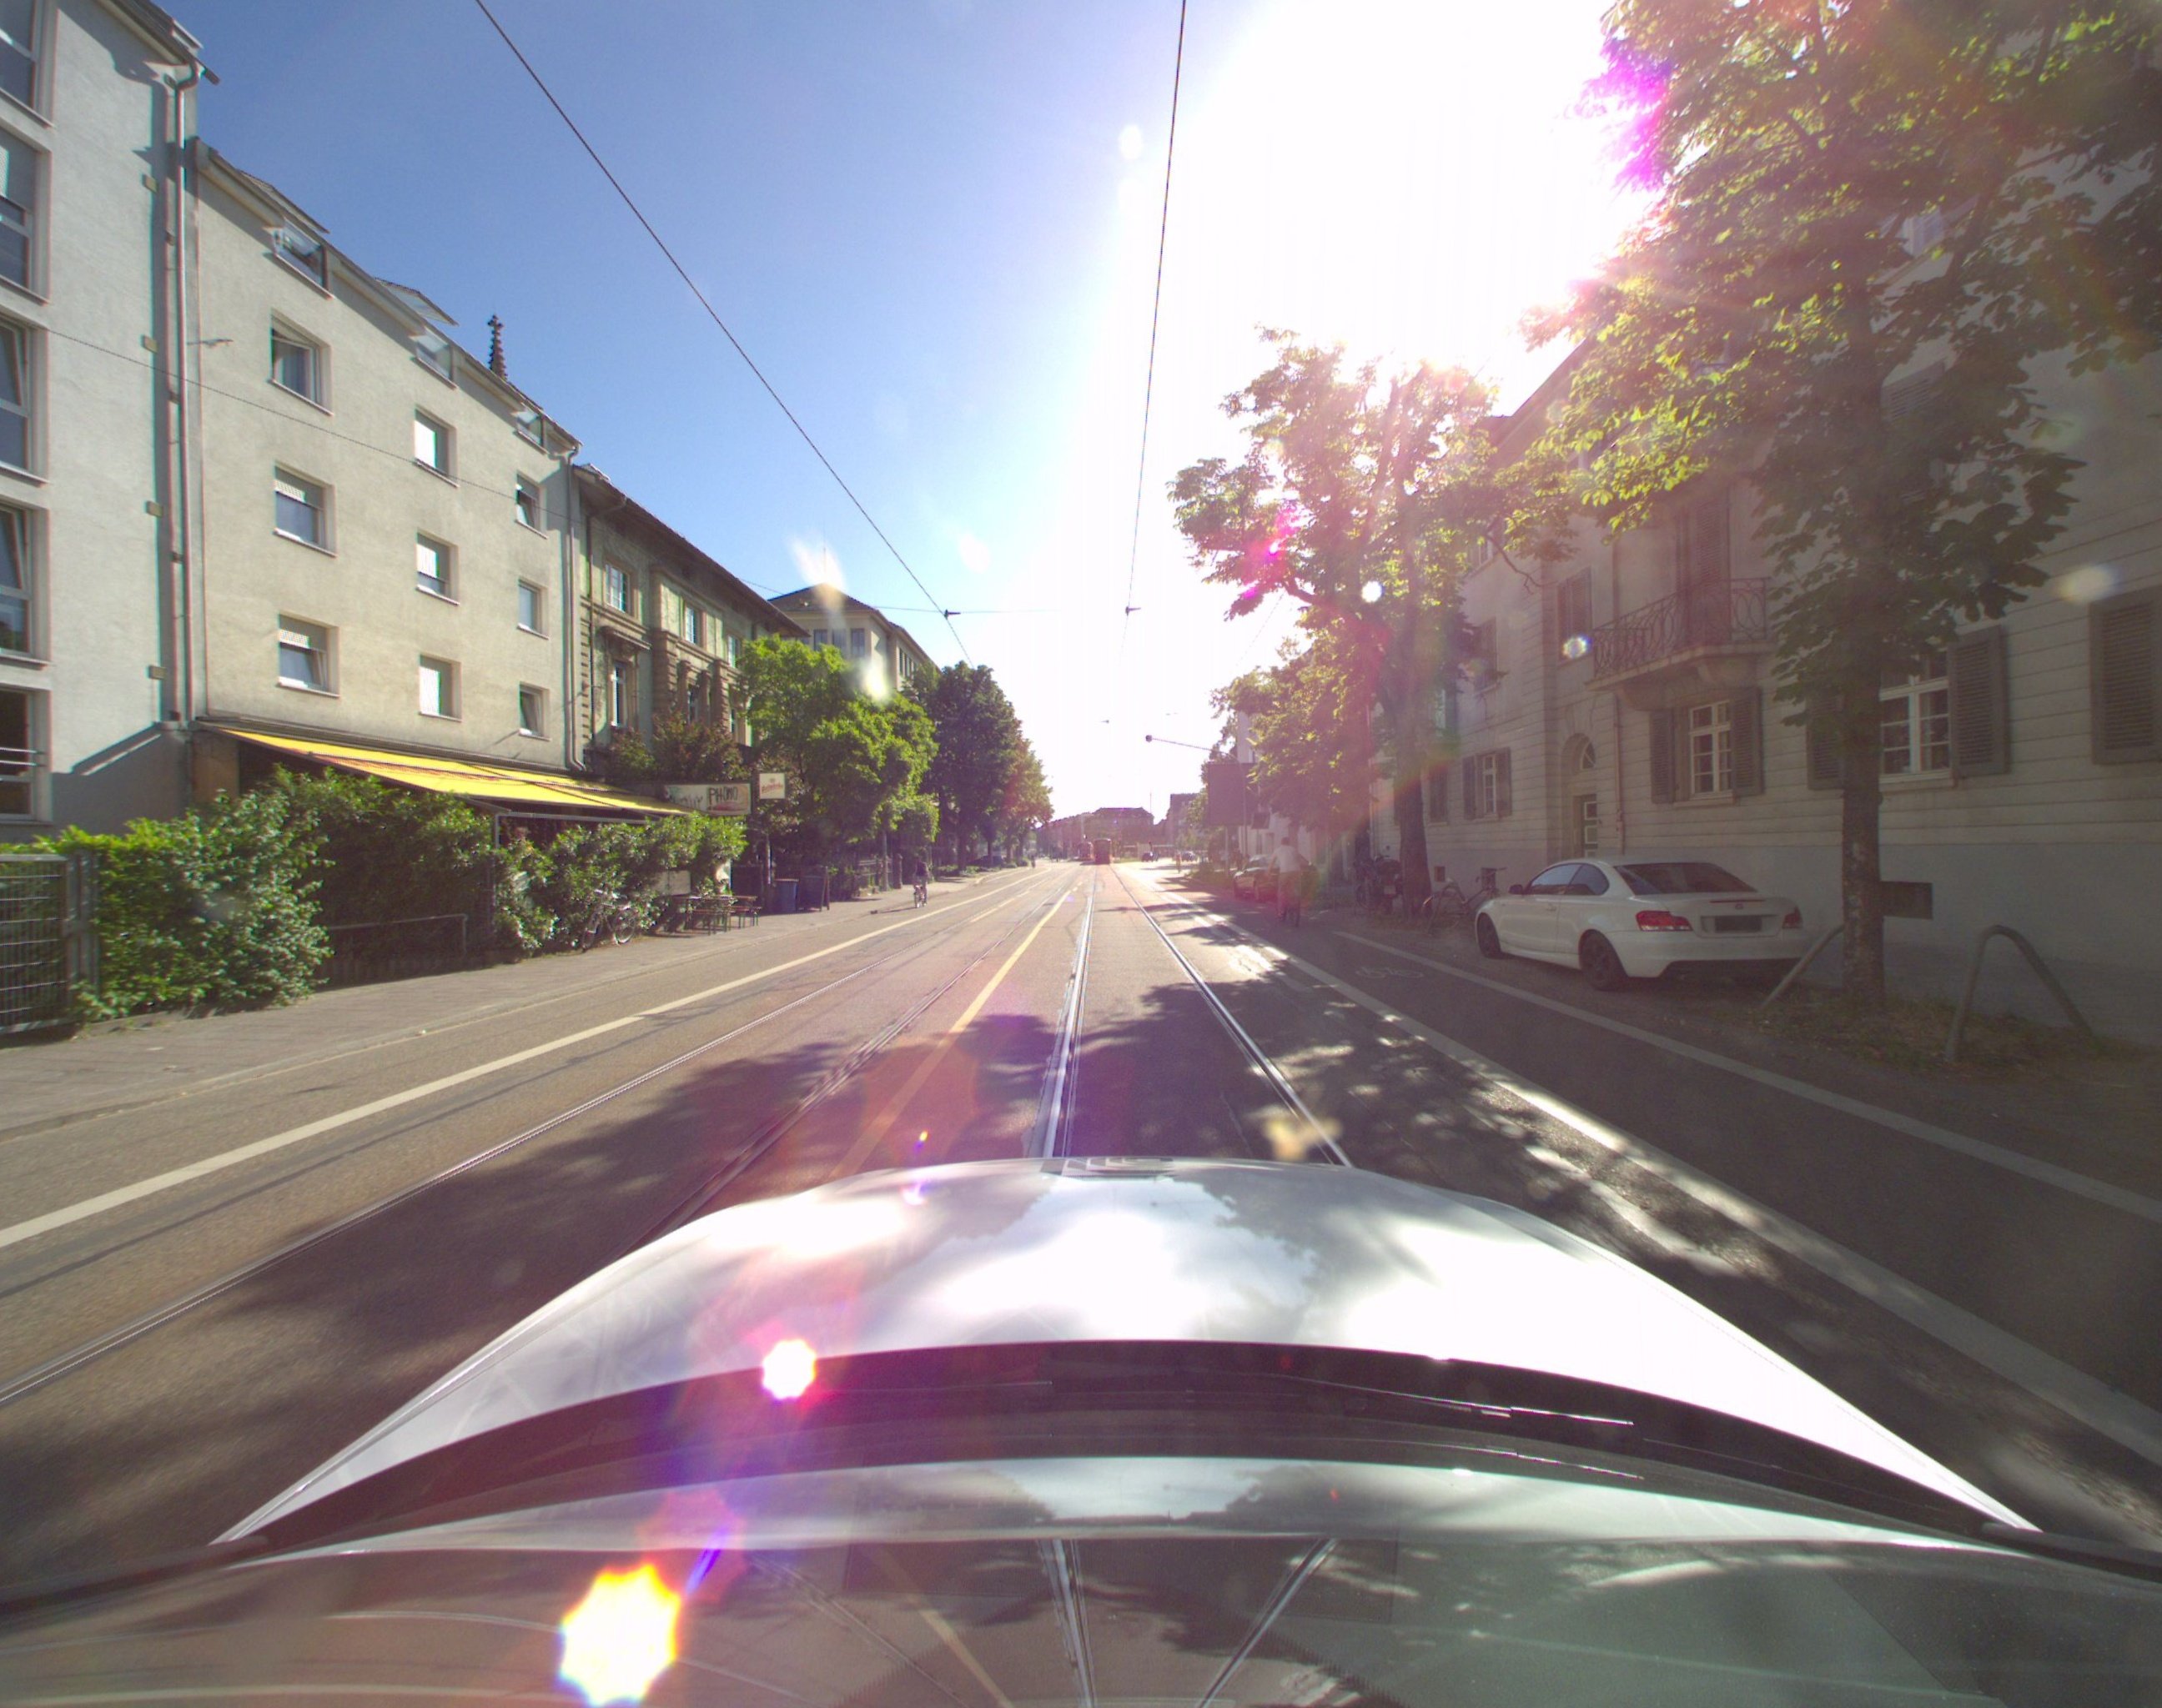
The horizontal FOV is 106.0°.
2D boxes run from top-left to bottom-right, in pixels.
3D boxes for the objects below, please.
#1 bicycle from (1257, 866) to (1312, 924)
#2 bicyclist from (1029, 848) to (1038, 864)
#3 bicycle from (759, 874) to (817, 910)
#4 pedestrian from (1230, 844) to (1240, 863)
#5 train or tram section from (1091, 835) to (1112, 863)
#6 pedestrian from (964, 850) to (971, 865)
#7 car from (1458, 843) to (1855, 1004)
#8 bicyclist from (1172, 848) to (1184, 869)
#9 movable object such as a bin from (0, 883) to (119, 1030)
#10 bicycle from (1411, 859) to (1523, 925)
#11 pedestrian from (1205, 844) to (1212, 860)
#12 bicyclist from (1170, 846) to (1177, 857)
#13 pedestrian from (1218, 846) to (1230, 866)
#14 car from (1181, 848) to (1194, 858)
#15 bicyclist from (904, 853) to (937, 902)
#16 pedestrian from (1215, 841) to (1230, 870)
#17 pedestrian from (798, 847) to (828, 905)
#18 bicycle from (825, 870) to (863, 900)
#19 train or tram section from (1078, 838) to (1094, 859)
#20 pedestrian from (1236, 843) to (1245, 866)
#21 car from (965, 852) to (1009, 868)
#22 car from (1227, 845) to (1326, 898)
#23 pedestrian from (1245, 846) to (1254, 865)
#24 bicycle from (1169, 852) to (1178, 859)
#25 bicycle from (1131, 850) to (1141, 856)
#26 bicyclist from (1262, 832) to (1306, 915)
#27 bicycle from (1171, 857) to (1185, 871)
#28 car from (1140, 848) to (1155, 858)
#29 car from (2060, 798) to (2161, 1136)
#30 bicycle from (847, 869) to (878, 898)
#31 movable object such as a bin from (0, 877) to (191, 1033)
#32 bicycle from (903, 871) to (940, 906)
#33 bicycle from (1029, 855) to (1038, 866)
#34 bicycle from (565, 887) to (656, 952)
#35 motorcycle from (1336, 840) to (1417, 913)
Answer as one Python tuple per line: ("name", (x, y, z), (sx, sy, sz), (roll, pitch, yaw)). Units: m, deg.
("bicycle", (4.251, 0.826, 17.154), (0.735, 1.094, 2.113), (0, 0, 3))
("bicyclist", (-5.009, 0.192, 85.516), (0.683, 1.644, 1.239), (-3, 0, 5))
("bicycle", (-9.398, 1.189, 26.199), (0.631, 1.045, 2.031), (-1, 0, 18))
("pedestrian", (14.522, -0.037, 76.801), (0.642, 1.763, 0.960), (-6, 0, 16))
("train or tram section", (2.813, -0.728, 114.111), (2.733, 3.651, 13.787), (-1, 1, 1))
("pedestrian", (-12.915, 0.386, 92.636), (0.698, 1.635, 0.759), (1, 0, 1))
("car", (6.243, 0.622, 9.596), (1.716, 1.382, 4.359), (-3, 0, 3))
("bicyclist", (7.777, 0.369, 65.041), (0.699, 1.675, 1.107), (0, 1, 21))
("movable object such as a bin", (-11.492, 1.085, 8.737), (0.805, 1.456, 1.257), (-2, 0, -3))
("bicycle", (6.795, 0.662, 14.381), (1.613, 1.043, 0.686), (-3, 0, 2))
("pedestrian", (16.037, -0.246, 102.258), (0.635, 1.903, 1.135), (-4, 0, 2))
("bicyclist", (14.725, -0.434, 129.429), (0.698, 1.700, 0.993), (1, 1, 26))
("pedestrian", (11.869, 0.164, 67.504), (0.853, 1.641, 0.994), (-2, -2, 3))
("car", (16.683, -0.142, 127.597), (1.777, 1.511, 3.726), (0, 1, 13))
("bicyclist", (-5.496, 0.806, 27.997), (0.742, 1.599, 1.118), (-4, 0, 2))
("pedestrian", (9.172, 0.109, 52.770), (0.681, 1.849, 0.955), (-3, 0, 0))
("pedestrian", (-8.584, 0.703, 26.136), (0.570, 1.831, 0.693), (-1, 0, 20))
("bicycle", (-8.828, 1.148, 30.465), (0.586, 1.045, 1.910), (0, 0, 9))
("train or tram section", (0.964, -1.123, 153.525), (2.733, 3.651, 13.787), (-1, 1, 1))
("pedestrian", (11.661, 0.024, 59.374), (0.515, 1.600, 0.765), (-2, 0, 4))
("car", (-9.432, 0.609, 81.736), (4.008, 1.550, 1.861), (0, 0, -26))
("car", (6.176, 0.506, 26.312), (1.817, 1.458, 4.814), (-3, 0, -2))
("pedestrian", (12.278, 0.094, 59.272), (0.515, 1.404, 0.765), (-2, 0, 4))
("bicycle", (14.726, 0.187, 129.457), (0.698, 1.055, 2.327), (1, 2, 26))
("bicycle", (11.428, -0.262, 169.098), (1.928, 1.103, 0.599), (-1, 0, -2))
("bicyclist", (4.247, 0.401, 17.110), (0.735, 1.686, 0.972), (0, 0, 3))
("bicycle", (7.773, 0.789, 65.048), (0.699, 1.104, 1.726), (0, 1, 21))
("car", (10.326, -0.164, 126.710), (1.776, 1.604, 3.727), (0, 1, 14))
("car", (6.007, 0.510, 1.968), (1.804, 1.626, 4.586), (-4, 0, 2))
("bicycle", (-8.692, 1.158, 32.435), (0.587, 1.045, 1.907), (0, 0, 5))
("movable object such as a bin", (-10.479, 1.005, 8.552), (0.804, 1.456, 1.258), (-2, 0, 0))
("bicycle", (-5.470, 1.168, 27.994), (0.742, 1.082, 1.900), (-4, 0, 3))
("bicycle", (-4.979, 0.678, 85.533), (0.683, 1.124, 1.934), (-3, 0, 5))
("bicycle", (-8.899, 1.209, 15.489), (0.636, 1.059, 1.744), (1, 0, 2))
("motorcycle", (6.666, 0.469, 18.534), (0.910, 1.488, 2.681), (-3, 0, 3))
